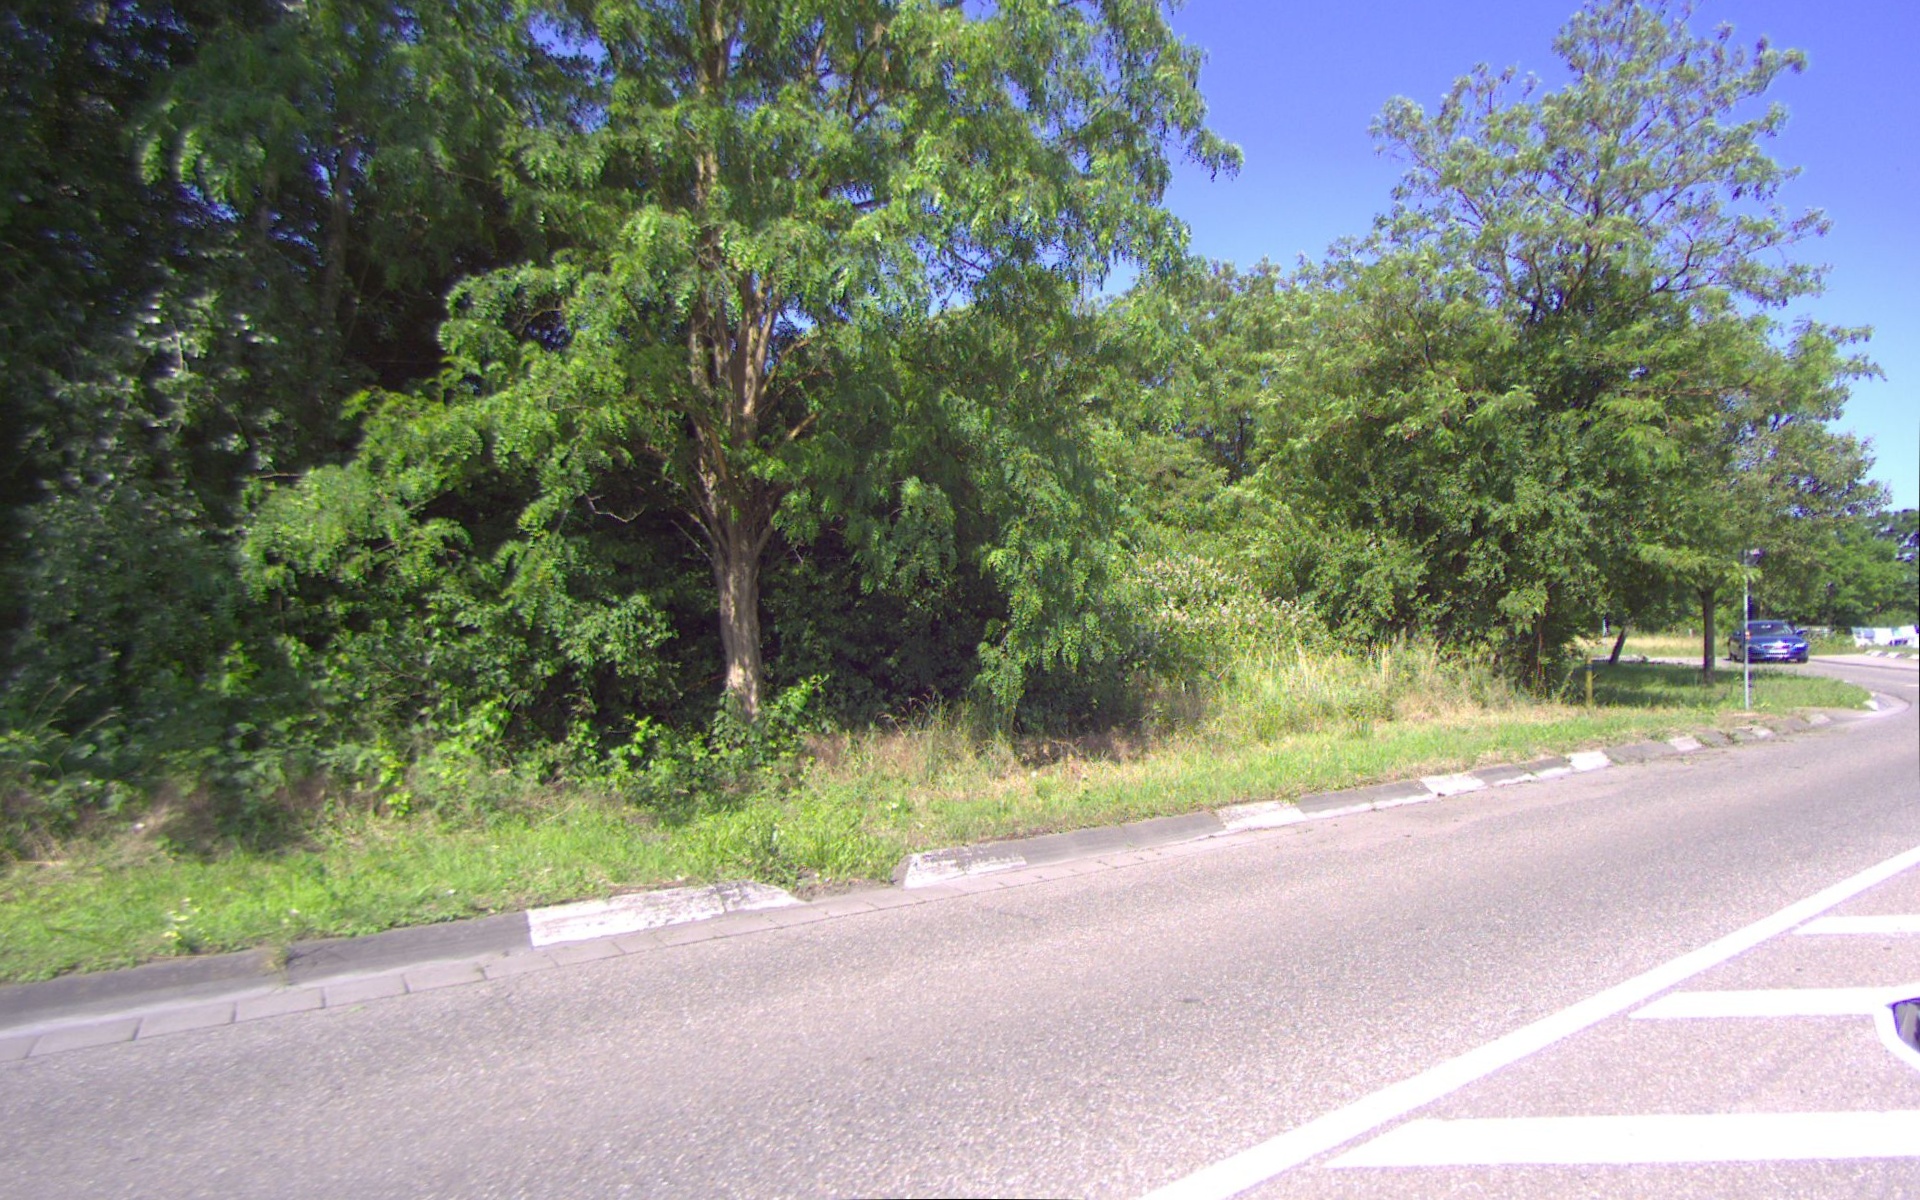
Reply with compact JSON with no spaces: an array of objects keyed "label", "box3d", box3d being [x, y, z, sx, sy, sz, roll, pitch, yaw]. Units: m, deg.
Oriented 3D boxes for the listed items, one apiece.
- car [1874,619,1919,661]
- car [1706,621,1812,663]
[{"label":"car","box3d":[44.430,1.786,45.241,4.503,1.840,1.901,0,-2,9]},{"label":"car","box3d":[28.549,1.493,36.052,1.803,1.405,4.422,-2,-2,23]}]
